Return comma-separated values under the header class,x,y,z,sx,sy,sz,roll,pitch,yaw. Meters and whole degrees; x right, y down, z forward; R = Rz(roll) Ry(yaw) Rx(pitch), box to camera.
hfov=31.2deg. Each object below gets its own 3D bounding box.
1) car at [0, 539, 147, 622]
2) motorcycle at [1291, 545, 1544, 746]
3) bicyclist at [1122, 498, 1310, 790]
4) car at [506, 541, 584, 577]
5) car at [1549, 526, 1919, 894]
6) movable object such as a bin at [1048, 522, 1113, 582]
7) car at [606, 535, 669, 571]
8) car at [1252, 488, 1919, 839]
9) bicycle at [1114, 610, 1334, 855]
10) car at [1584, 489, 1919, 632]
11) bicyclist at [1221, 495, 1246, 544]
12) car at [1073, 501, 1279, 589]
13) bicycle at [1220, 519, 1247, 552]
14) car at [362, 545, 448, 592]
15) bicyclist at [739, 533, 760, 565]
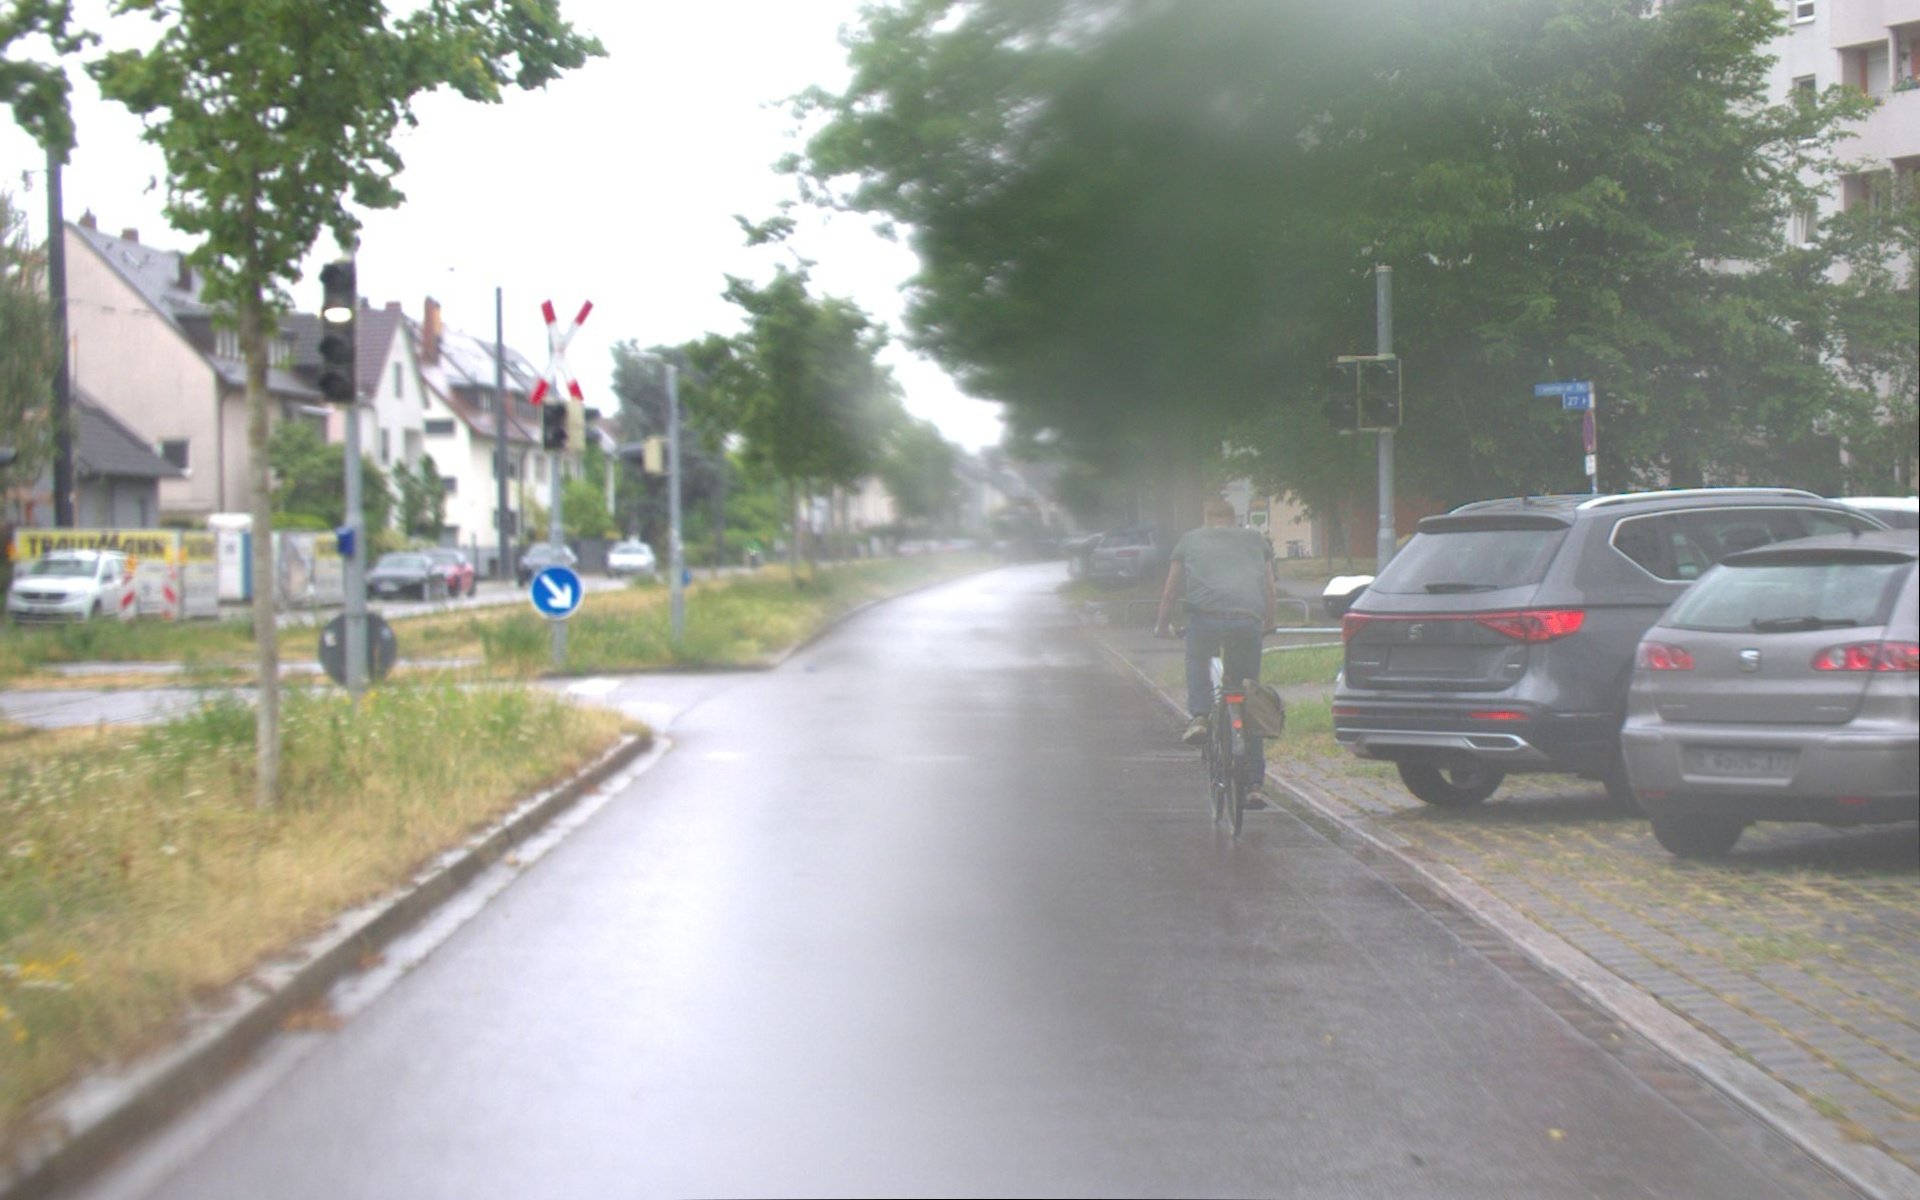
class,x,y,z,sx,sy,sz,roll,pitch,yaw
car,-17.643,-0.411,68.423,1.710,1.537,4.422,1,1,2
motorcycle,3.286,0.307,24.610,1.774,1.332,0.689,-3,2,-36
bicyclist,1.298,0.209,17.627,0.809,1.428,1.060,-2,1,-2
car,-14.903,-1.490,123.709,1.897,1.240,4.687,1,1,4
car,4.641,0.380,15.539,3.989,1.424,1.734,-3,2,-41
movable object such as a bin,3.191,-1.274,91.001,1.125,1.452,1.401,-7,3,-19
car,-13.681,-2.023,145.988,1.897,1.464,4.687,1,1,4
car,3.791,0.252,18.685,4.338,1.645,1.857,-3,2,-41
bicycle,1.322,0.637,17.722,0.809,1.093,2.517,-2,1,-2
car,10.743,-0.536,44.577,4.801,1.739,2.001,-1,1,-14
bicyclist,9.025,-2.656,113.577,0.734,1.588,0.944,-2,1,1
car,4.880,-1.252,77.588,4.135,1.713,2.000,-5,3,-30
bicycle,9.032,-2.135,113.683,0.734,1.053,2.051,-1,1,1
car,-15.720,-0.899,97.560,1.663,1.240,4.071,1,1,2
bicyclist,-11.311,-2.751,184.533,1.018,1.679,1.092,-1,1,1
